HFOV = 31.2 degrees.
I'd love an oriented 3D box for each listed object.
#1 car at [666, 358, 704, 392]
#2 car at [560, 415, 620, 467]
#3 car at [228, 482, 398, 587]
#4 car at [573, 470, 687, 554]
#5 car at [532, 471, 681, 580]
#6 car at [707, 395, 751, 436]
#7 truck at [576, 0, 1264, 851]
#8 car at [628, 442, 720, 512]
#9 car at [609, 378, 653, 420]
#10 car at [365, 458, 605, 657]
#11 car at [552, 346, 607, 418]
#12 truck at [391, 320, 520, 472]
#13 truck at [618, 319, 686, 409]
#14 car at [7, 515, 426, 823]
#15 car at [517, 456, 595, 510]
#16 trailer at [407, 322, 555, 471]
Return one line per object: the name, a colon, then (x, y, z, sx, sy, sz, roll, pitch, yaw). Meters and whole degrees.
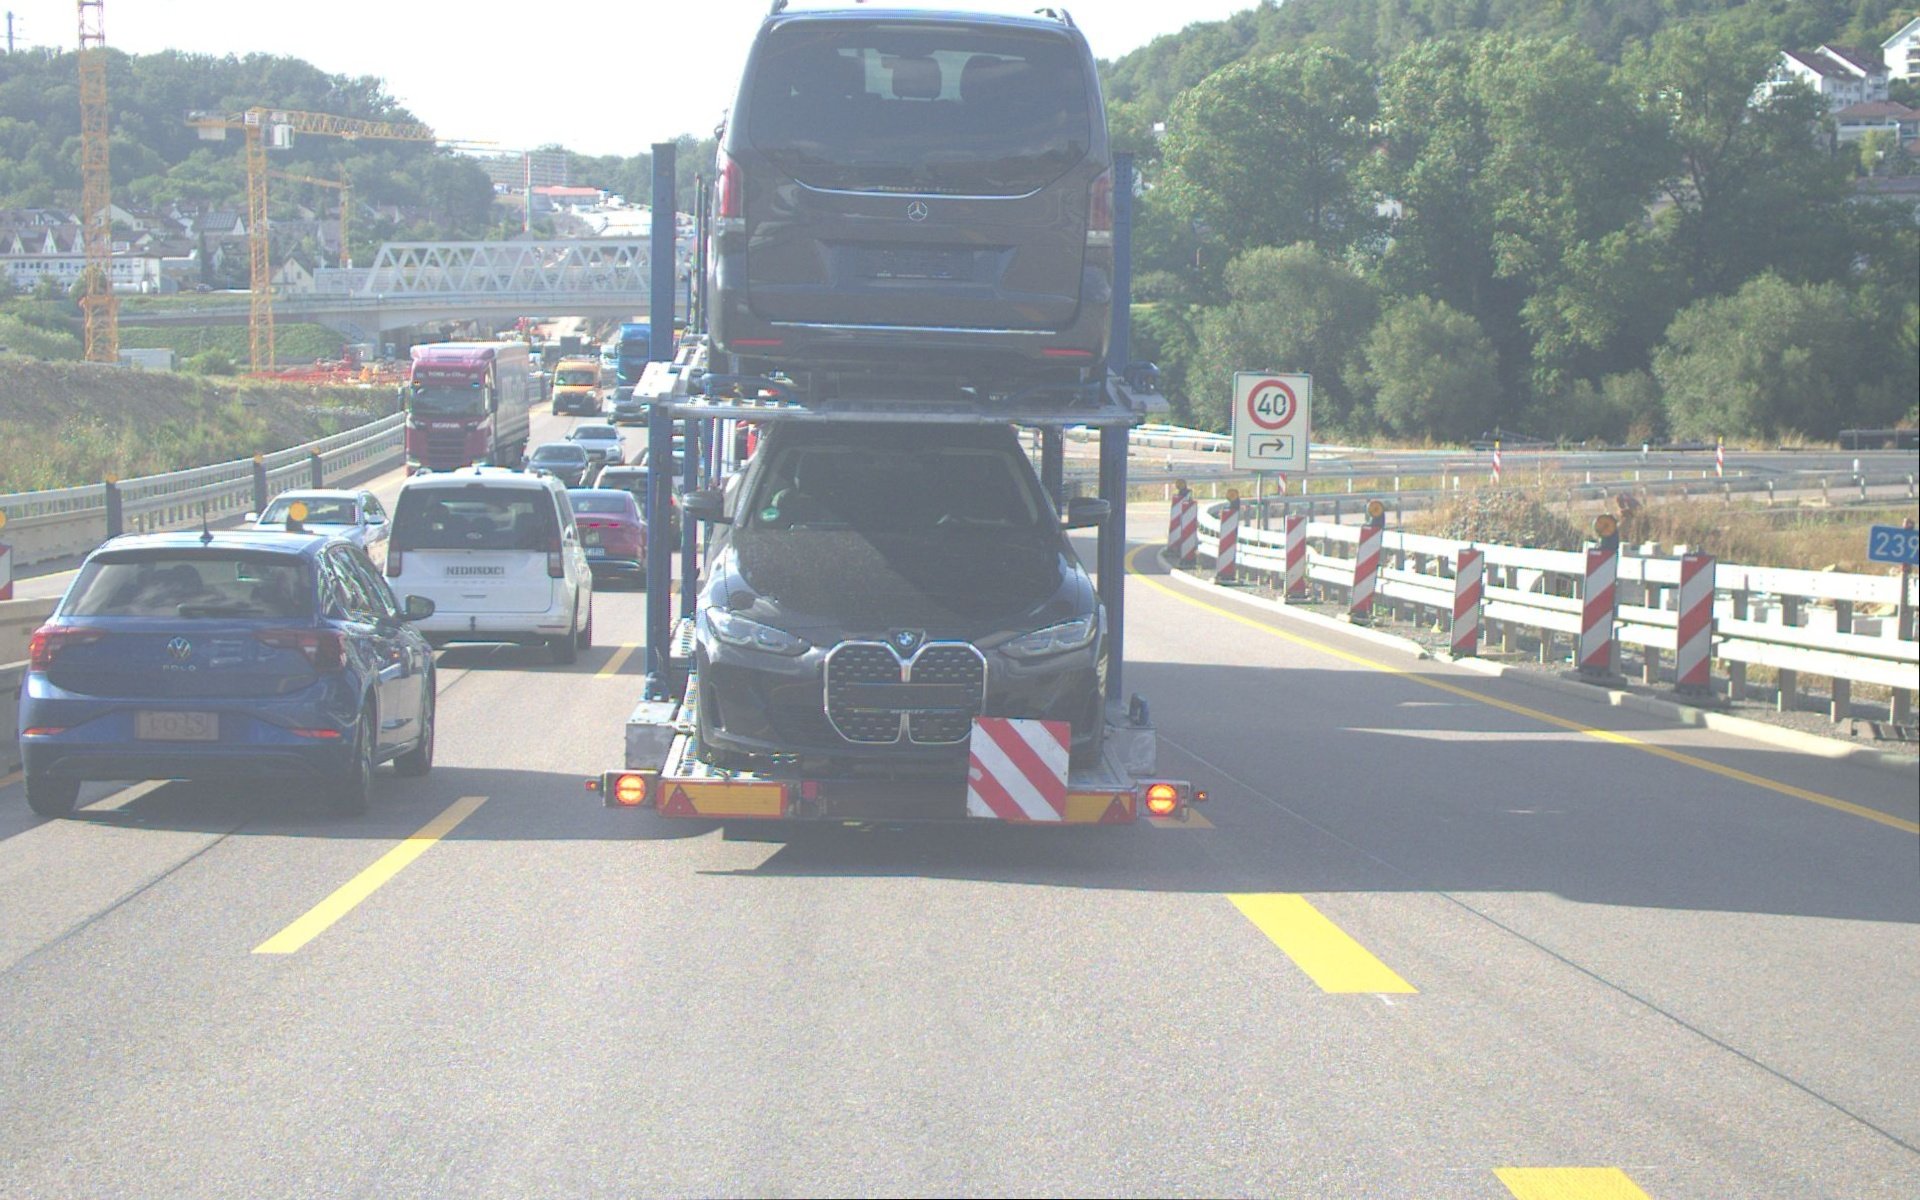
car: (-15.756, -12.868, 196.910, 1.993, 1.678, 4.000, 1, 0, -3)
car: (-12.377, -5.299, 115.125, 1.844, 1.642, 4.506, 1, 2, -4)
car: (-9.432, -0.985, 50.434, 1.852, 1.435, 4.559, 1, 2, -3)
car: (-6.487, -1.715, 67.955, 1.993, 1.547, 4.000, 1, 0, -2)
car: (-5.322, -1.093, 52.239, 1.993, 1.551, 4.401, 1, 0, -3)
car: (-10.146, -8.079, 150.672, 1.844, 1.642, 4.506, 1, 2, -5)
truck: (-0.623, -1.099, 23.802, 2.753, 3.941, 18.892, 2, 1, -3)
car: (-7.085, -3.042, 85.422, 1.993, 1.660, 4.001, 1, 1, -1)
car: (-14.208, -8.684, 148.746, 1.844, 1.642, 4.238, 1, 2, -5)
car: (-4.563, -0.398, 33.539, 1.823, 1.786, 4.000, 1, 0, -1)
car: (-17.642, -10.088, 159.562, 1.993, 2.870, 6.064, 1, 0, -2)
truck: (-15.366, -6.170, 105.036, 2.914, 4.372, 6.287, 2, 2, 0)
truck: (-19.390, -14.829, 216.961, 2.822, 4.772, 13.054, 1, 0, 1)
car: (-3.897, 0.290, 18.593, 1.721, 1.417, 4.001, 1, 2, -5)
car: (-11.238, -3.244, 95.821, 1.821, 1.435, 4.615, 1, 2, -3)
trailer: (-15.476, -6.496, 112.216, 2.976, 4.407, 13.818, 2, 2, -1)
